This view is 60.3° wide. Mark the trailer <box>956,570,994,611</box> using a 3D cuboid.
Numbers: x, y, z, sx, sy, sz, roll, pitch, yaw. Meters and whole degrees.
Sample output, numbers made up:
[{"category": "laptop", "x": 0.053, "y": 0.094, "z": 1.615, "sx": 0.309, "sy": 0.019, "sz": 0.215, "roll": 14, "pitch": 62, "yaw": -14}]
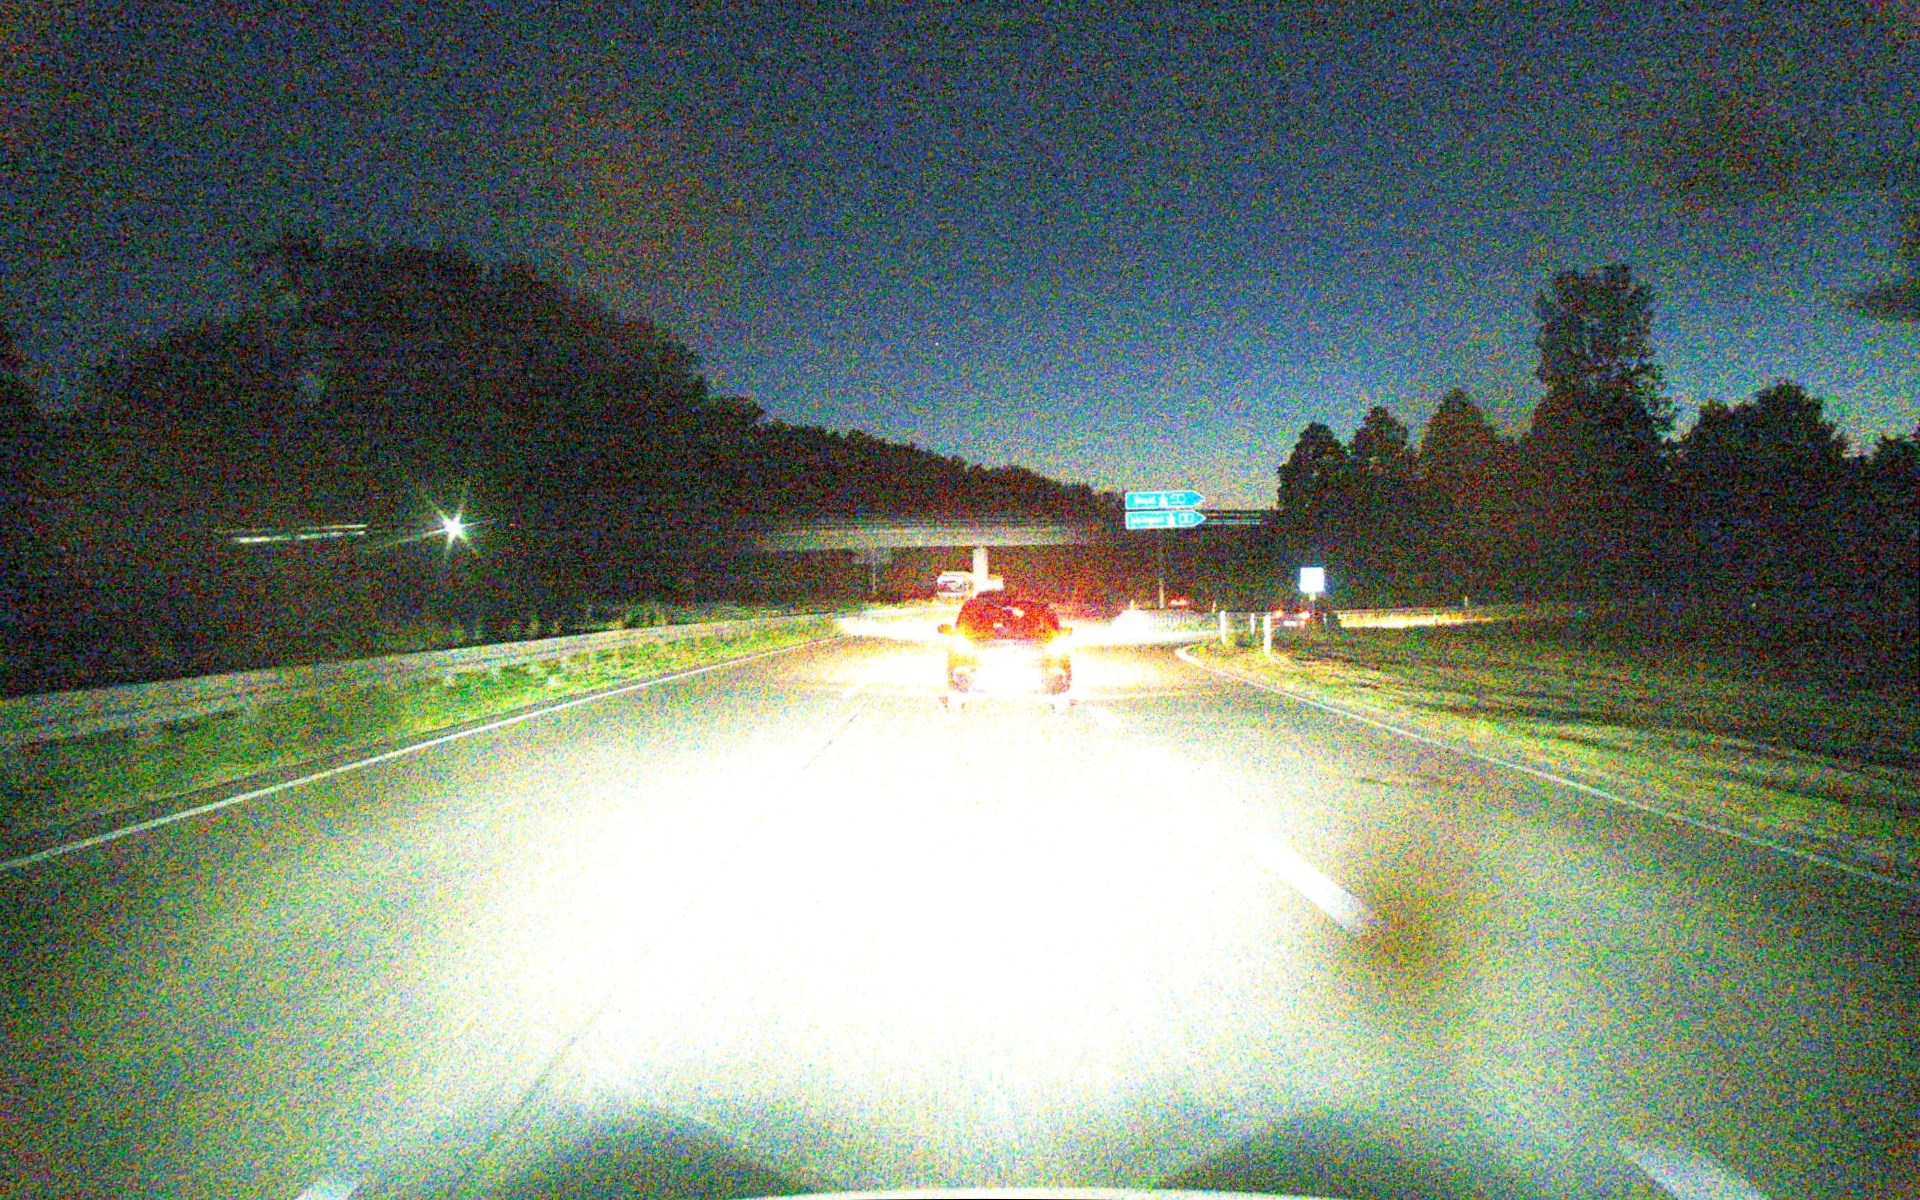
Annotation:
[{"category": "trailer", "x": 1.617, "y": -0.989, "z": 168.746, "sx": 2.659, "sy": 4.025, "sz": 9.055, "roll": -1, "pitch": 0, "yaw": 8}]

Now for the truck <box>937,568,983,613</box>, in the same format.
[{"category": "truck", "x": 0.069, "y": -0.902, "z": 158.889, "sx": 2.623, "sy": 4.115, "sz": 10.663, "roll": -1, "pitch": 0, "yaw": 10}]

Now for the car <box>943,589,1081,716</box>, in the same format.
[{"category": "car", "x": 0.623, "y": 0.640, "z": 22.401, "sx": 1.556, "sy": 1.534, "sz": 3.998, "roll": 1, "pitch": 0, "yaw": -2}]

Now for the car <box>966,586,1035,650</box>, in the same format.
[{"category": "car", "x": 1.126, "y": 0.484, "z": 46.957, "sx": 1.867, "sy": 1.728, "sz": 4.000, "roll": 0, "pitch": 0, "yaw": 0}]

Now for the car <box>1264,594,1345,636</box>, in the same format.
[{"category": "car", "x": 15.605, "y": 0.651, "z": 74.765, "sx": 1.901, "sy": 1.847, "sz": 4.245, "roll": 0, "pitch": 0, "yaw": 38}]
